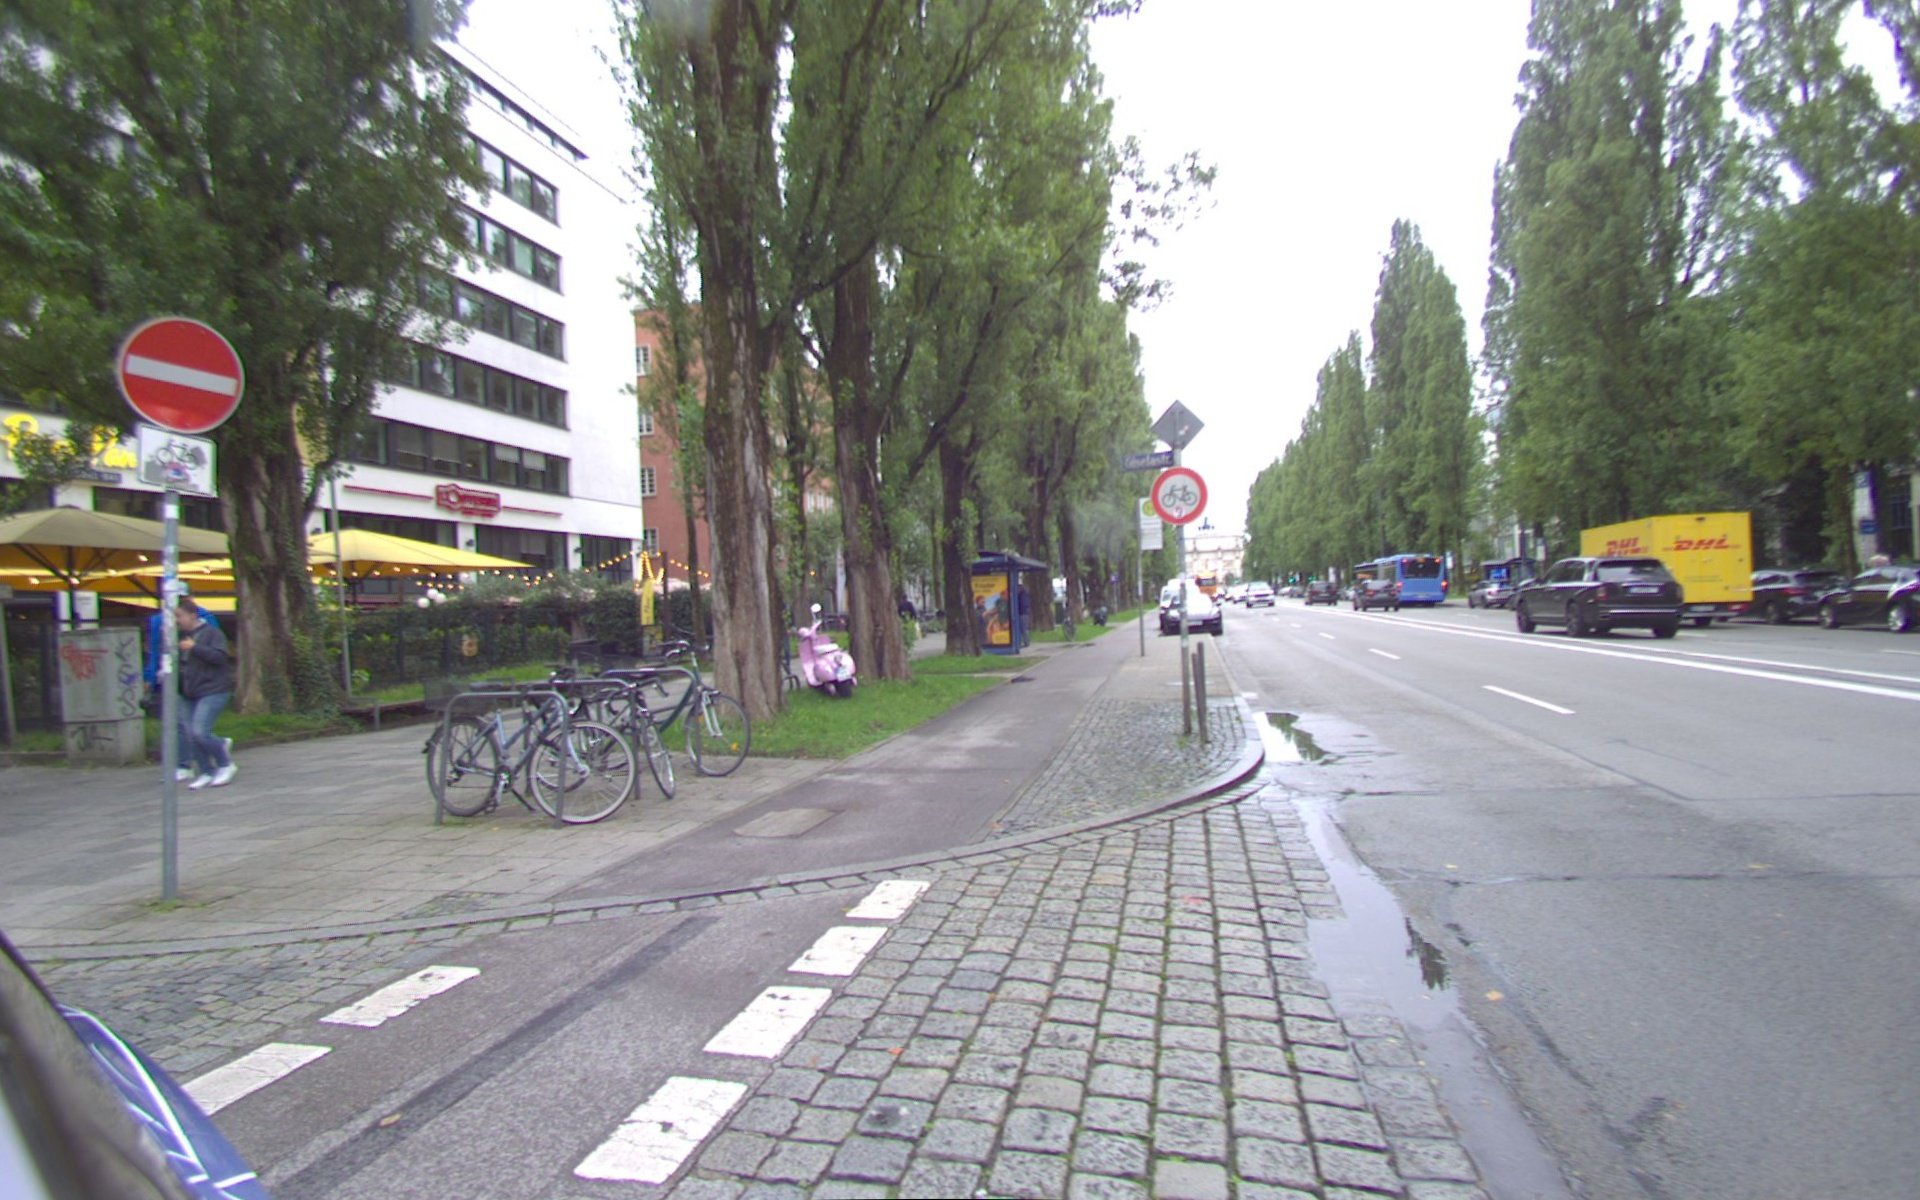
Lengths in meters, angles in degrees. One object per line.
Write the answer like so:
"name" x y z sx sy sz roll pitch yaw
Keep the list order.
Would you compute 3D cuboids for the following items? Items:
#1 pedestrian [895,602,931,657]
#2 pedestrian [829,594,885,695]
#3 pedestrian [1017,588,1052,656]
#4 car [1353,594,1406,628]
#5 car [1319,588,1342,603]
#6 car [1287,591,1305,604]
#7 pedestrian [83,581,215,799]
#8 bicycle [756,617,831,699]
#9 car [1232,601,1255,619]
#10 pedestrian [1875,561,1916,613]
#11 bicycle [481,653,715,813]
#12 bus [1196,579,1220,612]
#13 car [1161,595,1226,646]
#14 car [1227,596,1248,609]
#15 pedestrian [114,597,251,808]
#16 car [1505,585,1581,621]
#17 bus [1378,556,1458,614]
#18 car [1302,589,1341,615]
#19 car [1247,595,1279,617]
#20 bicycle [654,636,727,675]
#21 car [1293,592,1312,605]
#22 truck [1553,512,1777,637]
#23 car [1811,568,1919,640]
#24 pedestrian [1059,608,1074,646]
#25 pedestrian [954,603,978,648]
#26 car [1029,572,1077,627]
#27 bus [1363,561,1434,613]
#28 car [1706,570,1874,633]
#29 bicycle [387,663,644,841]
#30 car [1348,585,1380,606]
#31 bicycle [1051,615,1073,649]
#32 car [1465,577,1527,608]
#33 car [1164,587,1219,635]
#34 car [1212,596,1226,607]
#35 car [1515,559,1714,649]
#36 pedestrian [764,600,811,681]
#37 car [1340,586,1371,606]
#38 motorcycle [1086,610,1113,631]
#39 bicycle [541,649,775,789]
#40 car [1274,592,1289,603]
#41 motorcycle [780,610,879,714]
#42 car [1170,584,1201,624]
"pedestrian" -1.501 0.926 32.491 0.883 1.705 0.764 -3 -1 17
"pedestrian" -1.868 0.804 18.358 0.746 1.786 0.701 -2 -1 18
"pedestrian" 2.088 0.616 28.439 0.879 1.857 0.767 -3 -1 6
"car" 20.605 0.524 49.875 1.831 1.538 3.735 -2 0 14
"car" 44.641 -0.519 122.035 1.980 1.735 4.329 -2 0 13
"car" 47.367 -0.390 142.808 1.980 1.735 4.329 -2 0 13
"pedestrian" -7.556 0.809 9.460 0.692 1.922 0.646 -3 -1 -11
"bicycle" -2.631 0.895 16.137 0.577 1.197 1.609 -3 -1 12
"car" 28.189 0.994 100.840 1.993 1.592 3.983 -3 0 14
"pedestrian" 32.145 -0.450 34.778 0.702 1.726 0.728 -3 -1 14
"bicycle" -2.746 0.997 7.658 1.689 1.101 0.489 -3 -1 18
"bus" 32.849 -0.547 134.223 2.623 4.143 9.756 -3 -1 13
"car" 8.156 0.660 35.304 1.993 1.592 3.982 -3 0 14
"car" 32.528 0.276 118.750 1.629 1.407 3.992 -3 -1 6
"pedestrian" -6.819 0.869 8.908 0.692 1.740 0.646 -3 -1 -11
"car" 25.742 0.123 44.791 1.776 1.422 3.866 -3 0 13
"bus" 27.234 -0.814 60.522 2.901 3.075 8.474 -3 -1 16
"car" 25.027 0.133 70.257 1.980 1.735 4.795 -2 0 13
"car" 22.628 0.424 75.745 1.993 1.592 3.983 -2 0 14
"bicycle" -7.284 1.500 27.395 1.783 0.919 0.618 -3 -1 11
"car" 46.442 -0.219 137.186 1.980 1.735 4.329 -2 0 13
"truck" 19.305 -0.619 28.307 2.576 2.929 7.049 -3 0 14
"car" 20.448 0.039 21.645 1.776 1.422 3.865 -3 0 13
"pedestrian" 4.884 1.252 46.541 0.513 1.705 0.484 -3 -1 17
"pedestrian" 0.244 0.976 39.596 0.729 1.705 0.643 -3 -1 17
"car" 5.661 -0.019 60.917 2.176 3.040 5.979 -3 -1 11
"bus" 29.398 -0.801 68.284 2.901 3.075 9.746 -3 -1 16
"car" 21.531 0.035 26.456 1.776 1.422 3.865 -3 0 13
"bicycle" -3.048 1.023 6.926 1.689 1.101 0.489 -3 -1 18
"car" 35.574 -0.369 89.138 1.980 1.735 4.102 -2 0 13
"bicycle" 3.319 1.026 32.855 0.548 1.030 1.757 -3 -1 9
"car" 27.360 -0.379 51.777 1.776 1.422 3.865 -3 -1 13
"car" 9.530 0.500 41.919 1.991 1.770 3.986 -4 -2 11
"car" 39.548 0.207 154.683 1.993 1.592 3.982 -3 -1 14
"car" 14.702 0.090 23.141 1.979 1.762 5.046 -2 0 11
"pedestrian" -3.784 0.881 22.213 0.729 1.705 0.643 -3 -1 17
"car" 36.733 -0.374 94.156 1.980 1.735 4.795 -2 0 13
"motorcycle" 6.401 0.956 46.477 0.459 0.945 1.668 -3 -1 -20
"bicycle" -2.598 1.020 8.676 1.968 1.101 0.489 -3 -1 18
"car" 51.850 -0.386 163.226 1.980 1.735 4.329 -2 0 13
"motorcycle" -1.857 0.816 14.137 0.619 1.204 1.997 -2 4 -31
"car" 16.393 0.268 73.568 1.992 2.651 5.976 -3 0 13
